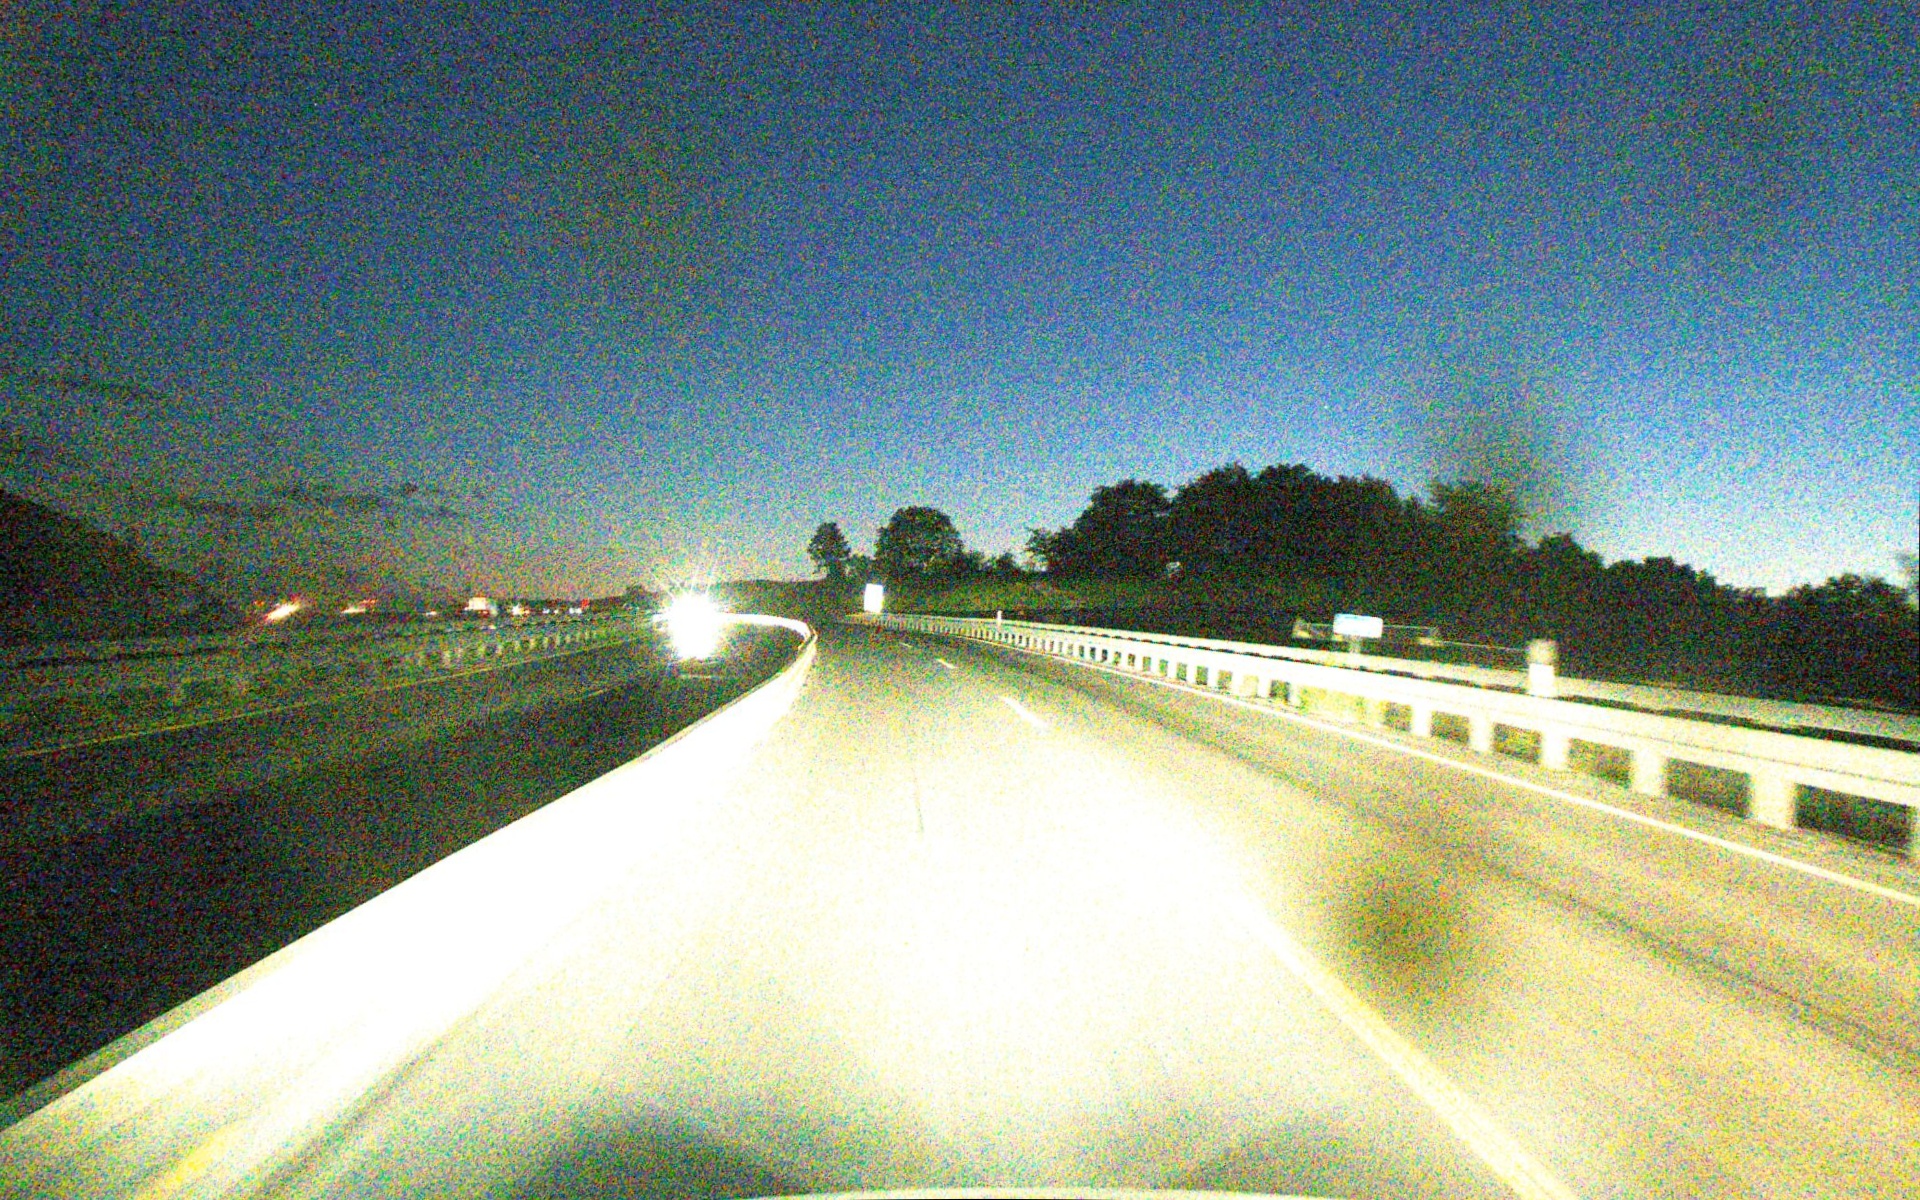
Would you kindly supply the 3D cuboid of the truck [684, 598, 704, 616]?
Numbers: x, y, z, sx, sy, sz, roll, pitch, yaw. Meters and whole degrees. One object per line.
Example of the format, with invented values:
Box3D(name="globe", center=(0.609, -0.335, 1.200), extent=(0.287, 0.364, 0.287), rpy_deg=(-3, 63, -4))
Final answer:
Box3D(name="truck", center=(-22.996, 0.593, 143.066), extent=(1.652, 1.495, 4.144), rpy_deg=(1, -1, -9))
